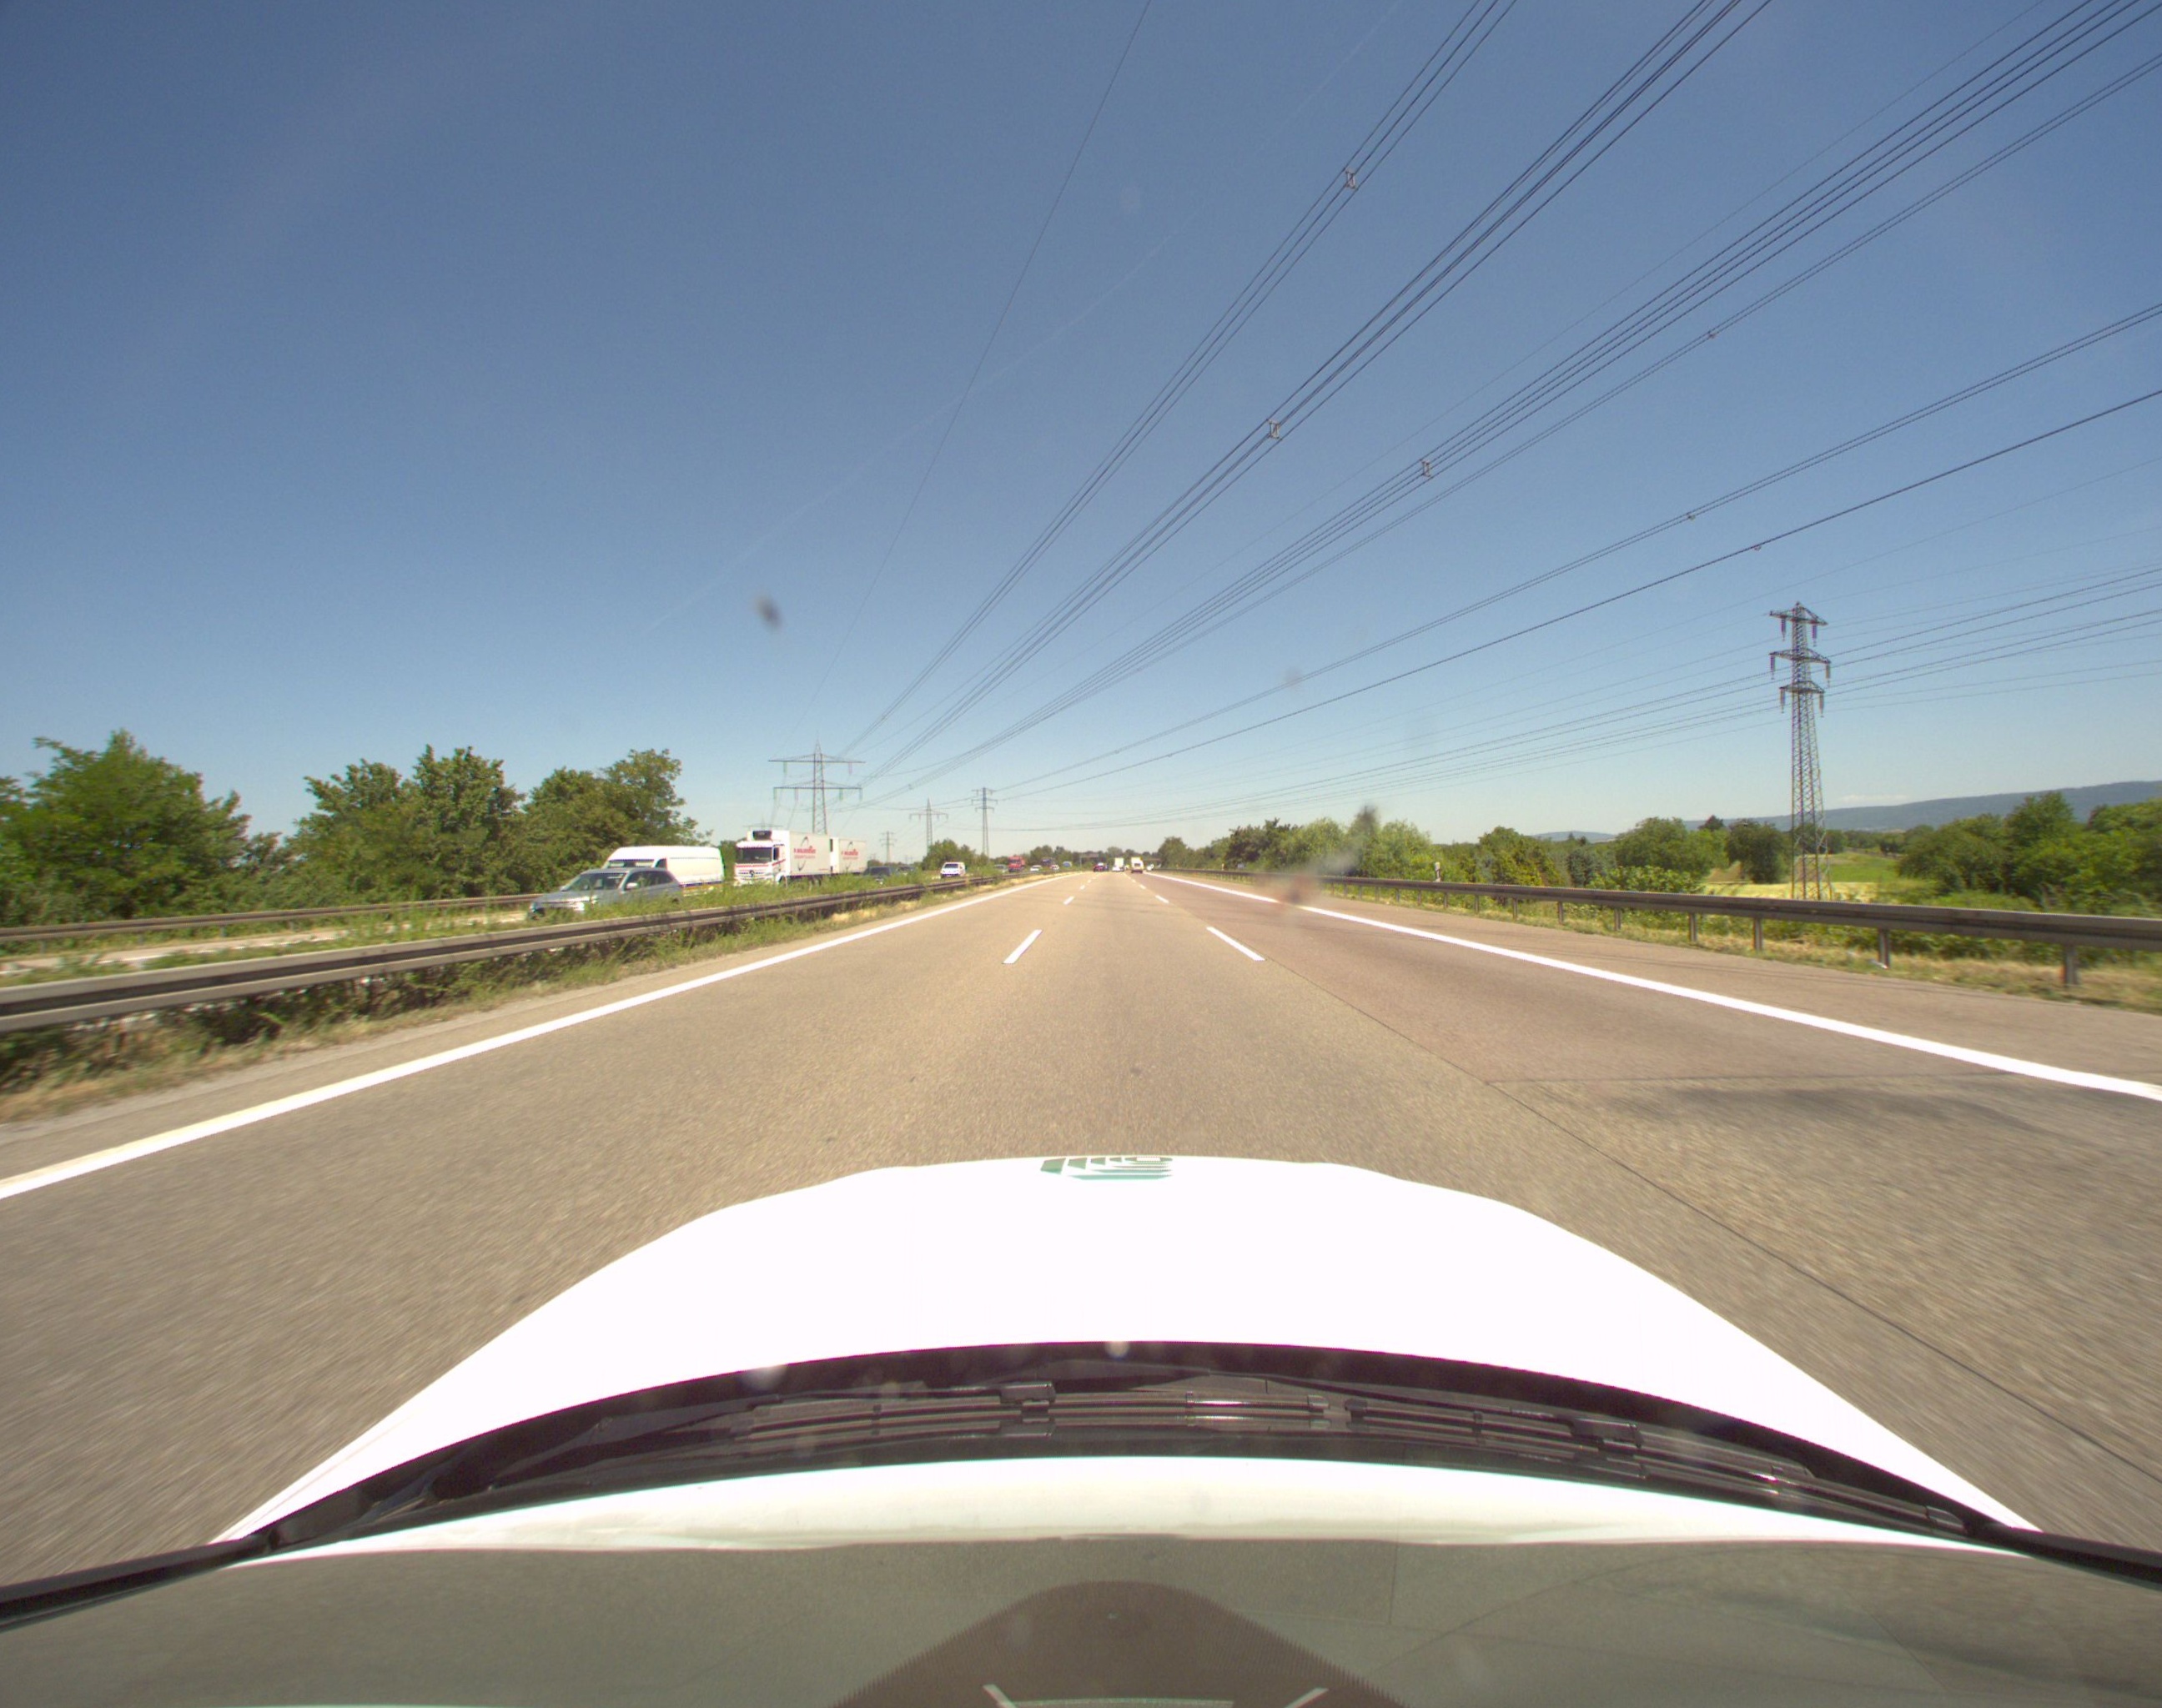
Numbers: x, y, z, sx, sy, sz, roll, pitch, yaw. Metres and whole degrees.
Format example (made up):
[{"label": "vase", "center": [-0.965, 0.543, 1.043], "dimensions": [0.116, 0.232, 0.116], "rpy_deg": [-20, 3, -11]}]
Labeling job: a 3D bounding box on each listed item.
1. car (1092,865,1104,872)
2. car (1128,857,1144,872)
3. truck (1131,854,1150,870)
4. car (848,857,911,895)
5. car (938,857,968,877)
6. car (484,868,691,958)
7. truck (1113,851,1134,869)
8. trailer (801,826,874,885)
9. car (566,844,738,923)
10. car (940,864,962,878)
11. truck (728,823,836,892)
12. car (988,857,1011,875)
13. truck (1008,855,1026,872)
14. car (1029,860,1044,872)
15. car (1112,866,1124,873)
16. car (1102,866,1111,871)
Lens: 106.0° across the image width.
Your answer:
[{"label": "car", "center": [3.955, 3.246, 187.174], "dimensions": [1.816, 1.547, 4.333], "rpy_deg": [0, -1, 12]}, {"label": "car", "center": [9.358, 1.735, 138.297], "dimensions": [2.433, 2.321, 5.323], "rpy_deg": [-2, 0, 2]}, {"label": "truck", "center": [17.309, 2.204, 236.187], "dimensions": [3.159, 4.304, 16.072], "rpy_deg": [0, 0, 12]}, {"label": "car", "center": [-11.602, 1.209, 47.329], "dimensions": [1.986, 2.013, 5.704], "rpy_deg": [0, 0, 2]}, {"label": "car", "center": [-13.236, 1.307, 84.783], "dimensions": [1.986, 2.013, 5.704], "rpy_deg": [0, 0, 2]}, {"label": "car", "center": [-12.459, 1.401, 21.054], "dimensions": [2.473, 2.013, 4.559], "rpy_deg": [0, 0, 1]}, {"label": "truck", "center": [12.562, 1.731, 240.829], "dimensions": [3.642, 5.018, 16.070], "rpy_deg": [0, 0, 12]}, {"label": "trailer", "center": [-18.267, 0.119, 61.647], "dimensions": [2.831, 4.164, 8.329], "rpy_deg": [0, 0, 1]}, {"label": "car", "center": [-15.677, 0.975, 30.481], "dimensions": [2.473, 2.579, 7.124], "rpy_deg": [0, 0, 2]}, {"label": "car", "center": [-16.853, 2.159, 105.989], "dimensions": [1.987, 1.661, 5.088], "rpy_deg": [-2, -1, 0]}, {"label": "truck", "center": [-18.625, 0.208, 51.734], "dimensions": [2.682, 3.950, 10.596], "rpy_deg": [0, 0, 1]}, {"label": "car", "center": [-9.476, 1.353, 94.769], "dimensions": [1.986, 2.013, 4.629], "rpy_deg": [0, 0, 2]}, {"label": "truck", "center": [-13.610, 2.024, 172.972], "dimensions": [2.759, 3.527, 8.538], "rpy_deg": [0, 0, 2]}, {"label": "car", "center": [-7.598, 2.077, 139.030], "dimensions": [1.986, 2.013, 4.923], "rpy_deg": [0, 0, 2]}, {"label": "car", "center": [8.589, 3.600, 188.675], "dimensions": [1.814, 1.547, 4.337], "rpy_deg": [0, -1, 16]}, {"label": "car", "center": [7.359, 4.224, 236.188], "dimensions": [1.816, 1.547, 4.333], "rpy_deg": [0, -1, 12]}]
